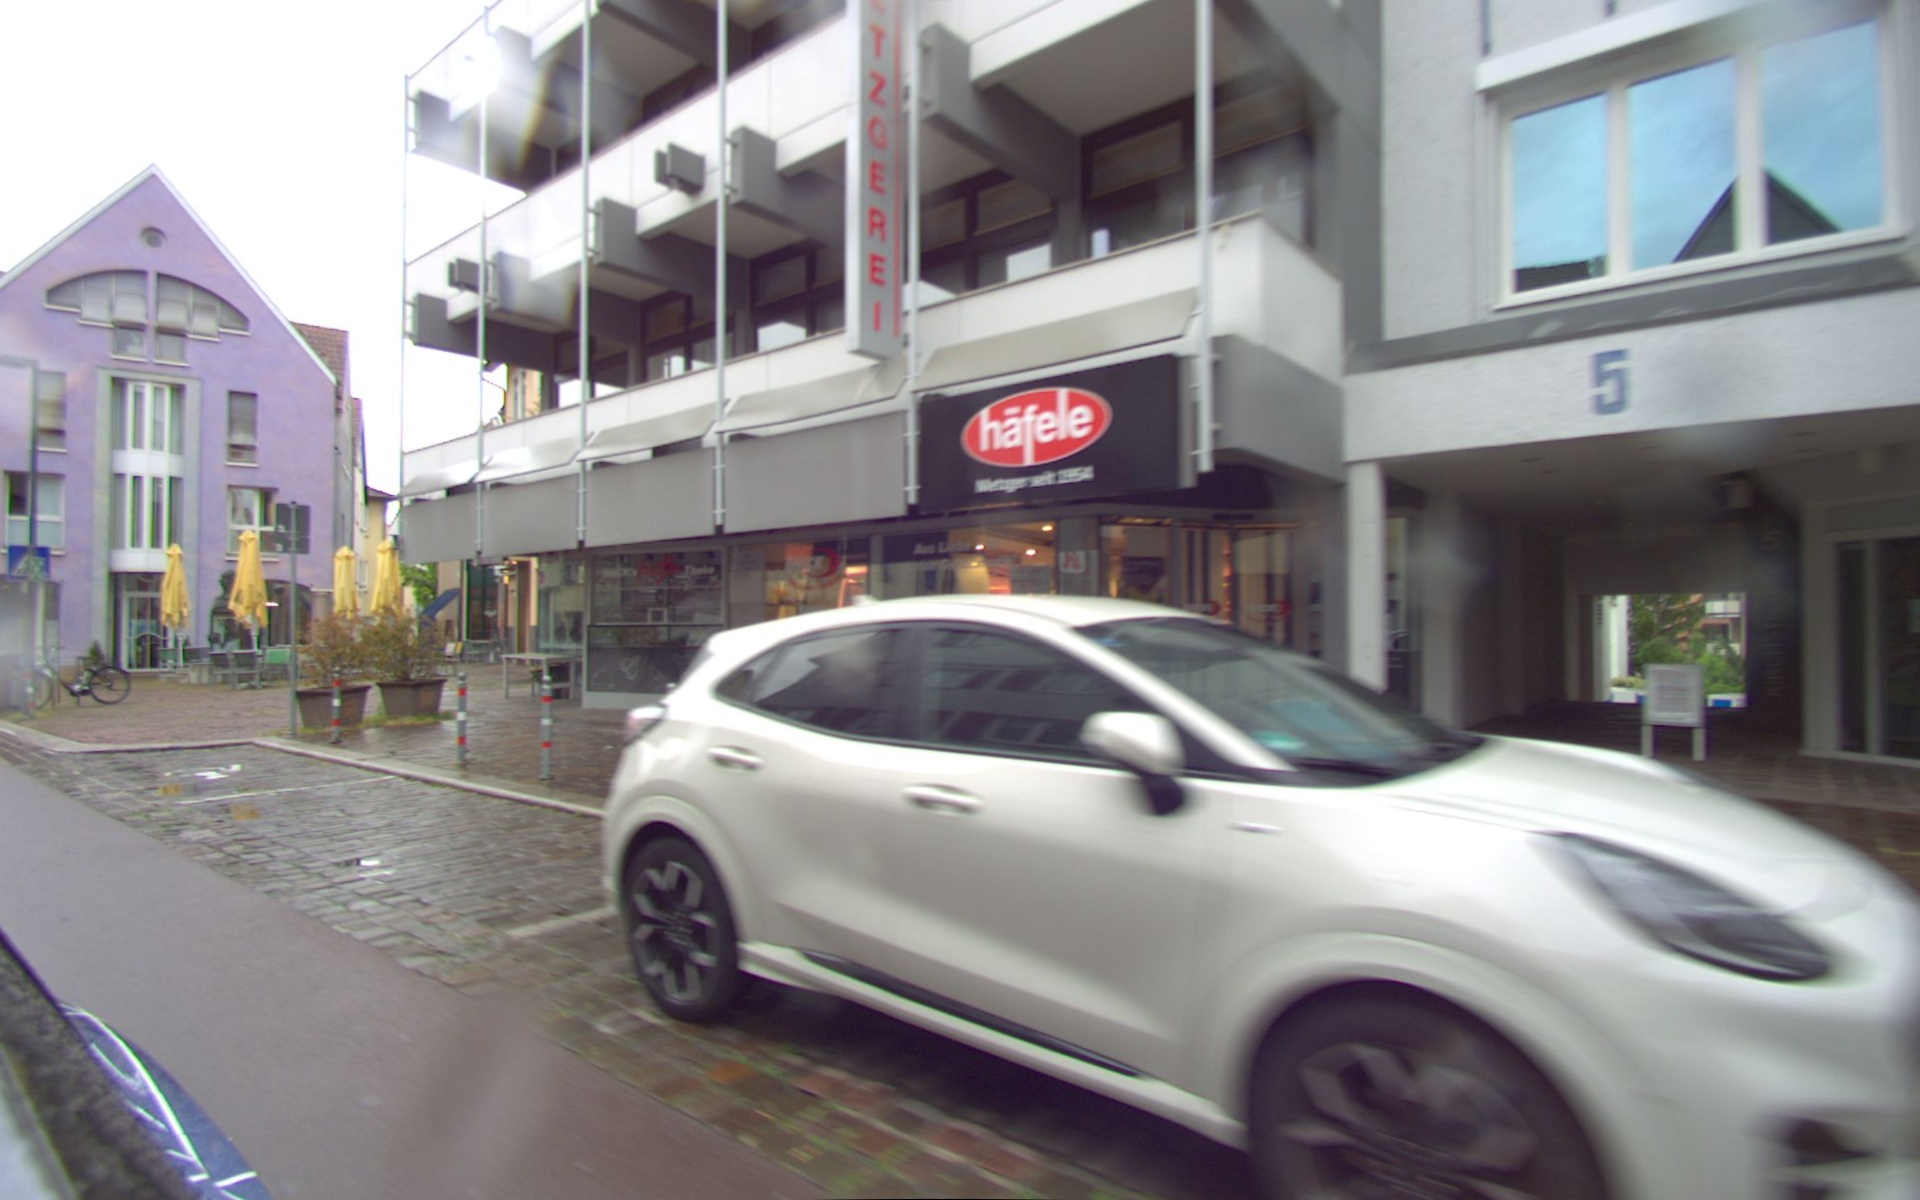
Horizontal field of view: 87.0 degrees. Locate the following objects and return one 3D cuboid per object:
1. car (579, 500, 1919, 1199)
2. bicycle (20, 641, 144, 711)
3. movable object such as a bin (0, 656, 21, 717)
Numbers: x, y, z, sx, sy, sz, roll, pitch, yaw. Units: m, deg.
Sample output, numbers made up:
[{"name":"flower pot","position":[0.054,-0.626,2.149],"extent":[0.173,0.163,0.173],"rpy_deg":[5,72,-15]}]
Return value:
[{"name":"car","position":[0.652,0.620,3.260],"extent":[3.996,1.562,1.773],"rpy_deg":[1,0,40]},{"name":"bicycle","position":[-16.307,1.384,18.851],"extent":[0.441,1.173,1.740],"rpy_deg":[1,-1,20]},{"name":"movable object such as a bin","position":[-16.689,1.491,17.334],"extent":[0.628,1.028,0.683],"rpy_deg":[-1,-2,22]}]
